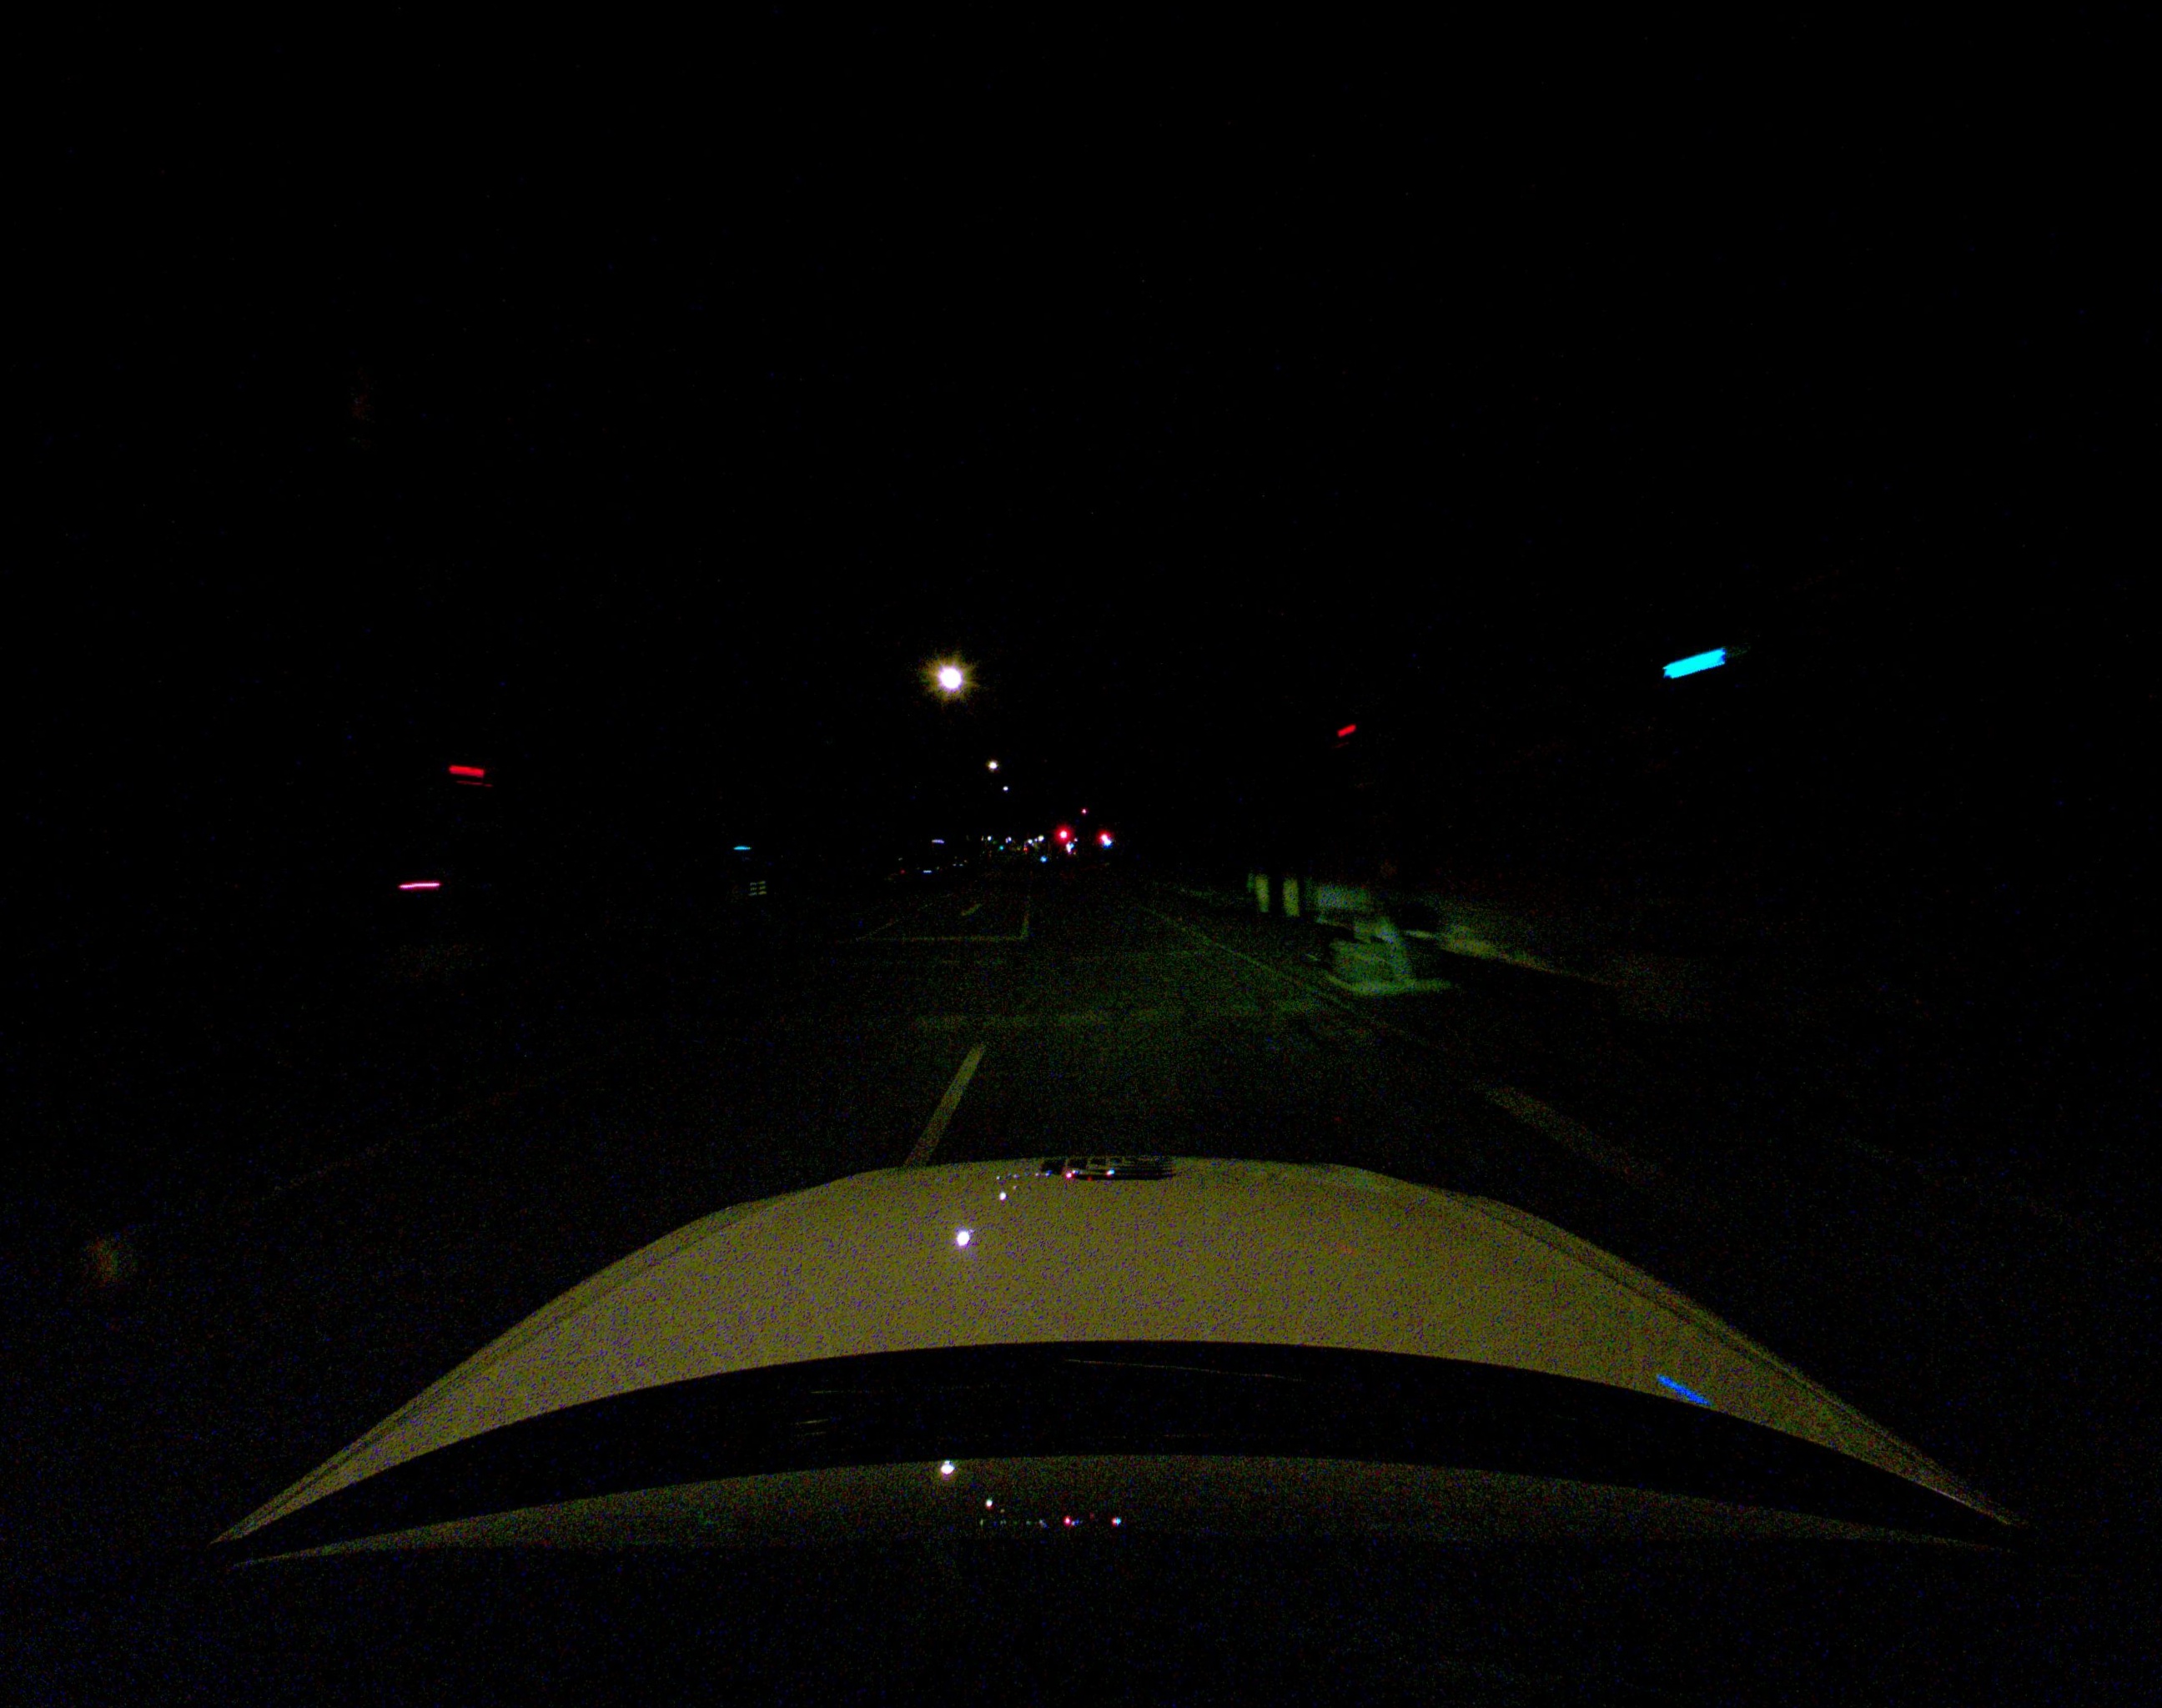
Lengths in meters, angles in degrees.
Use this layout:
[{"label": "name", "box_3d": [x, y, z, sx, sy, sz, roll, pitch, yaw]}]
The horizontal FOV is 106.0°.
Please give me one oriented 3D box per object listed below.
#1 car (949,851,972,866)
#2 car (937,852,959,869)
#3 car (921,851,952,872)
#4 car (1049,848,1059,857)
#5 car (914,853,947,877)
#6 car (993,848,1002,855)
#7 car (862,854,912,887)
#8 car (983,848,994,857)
[{"label": "car", "box_3d": [-12.130, 0.451, 82.284, 1.895, 1.471, 4.447, 0, 1, -3]}, {"label": "car", "box_3d": [-11.270, 0.507, 69.167, 1.620, 1.382, 4.442, -2, 0, -6]}, {"label": "car", "box_3d": [-10.730, 0.533, 60.855, 1.765, 1.485, 4.856, -2, 0, -4]}, {"label": "car", "box_3d": [-4.618, -0.273, 141.240, 1.647, 1.431, 3.997, -2, 0, -2]}, {"label": "car", "box_3d": [-10.256, 0.719, 55.860, 1.765, 1.485, 4.759, -2, 0, -5]}, {"label": "car", "box_3d": [-16.828, -0.487, 164.370, 1.648, 1.431, 3.995, -2, 0, -4]}, {"label": "car", "box_3d": [-9.373, 0.767, 39.610, 1.711, 1.494, 3.984, -1, 0, -4]}, {"label": "car", "box_3d": [-15.609, -0.218, 137.789, 1.648, 1.431, 3.995, -2, 0, -4]}]
